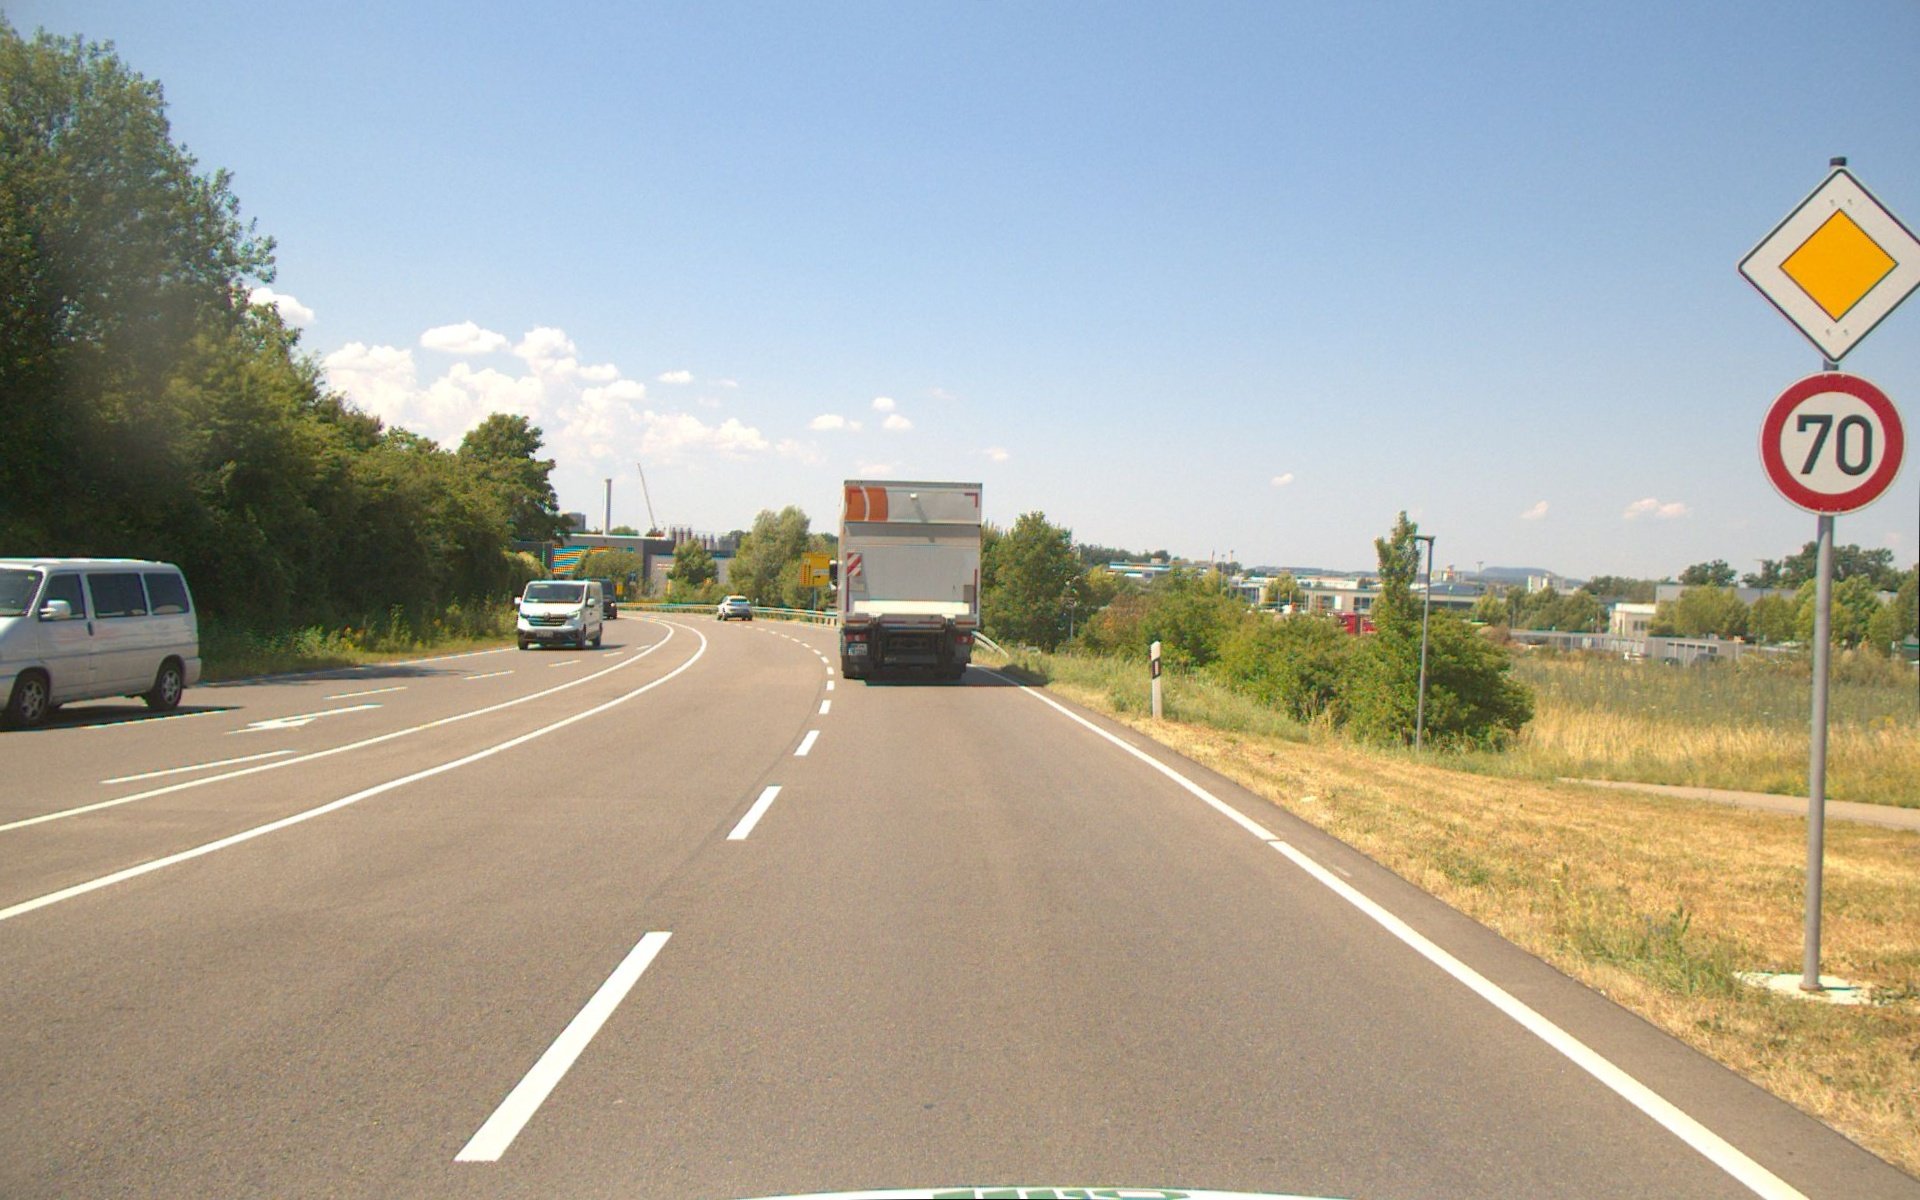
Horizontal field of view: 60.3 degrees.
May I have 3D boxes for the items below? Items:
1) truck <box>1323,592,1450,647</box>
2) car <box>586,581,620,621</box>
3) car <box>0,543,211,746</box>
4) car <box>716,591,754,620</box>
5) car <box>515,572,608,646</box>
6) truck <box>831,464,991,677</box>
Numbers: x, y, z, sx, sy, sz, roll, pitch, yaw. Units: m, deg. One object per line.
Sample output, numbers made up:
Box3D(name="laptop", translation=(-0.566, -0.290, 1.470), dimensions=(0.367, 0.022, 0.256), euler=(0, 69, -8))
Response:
Box3D(name="truck", translation=(33.916, 1.507, 131.701), dimensions=(9.209, 3.748, 3.127), euler=(3, 2, 27))
Box3D(name="car", translation=(-23.728, 0.032, 109.843), dimensions=(2.150, 2.586, 6.018), euler=(1, 0, -12))
Box3D(name="car", translation=(-11.009, 0.389, 19.869), dimensions=(1.934, 2.048, 4.839), euler=(3, 2, -3))
Box3D(name="car", translation=(-14.144, 0.353, 103.796), dimensions=(1.911, 1.693, 3.985), euler=(2, -1, -14))
Box3D(name="car", translation=(-11.715, 0.216, 49.023), dimensions=(2.037, 2.049, 5.798), euler=(1, 1, -7))
Box3D(name="truck", translation=(-1.227, -0.582, 33.984), dimensions=(2.749, 3.775, 9.098), euler=(0, 1, -5))
